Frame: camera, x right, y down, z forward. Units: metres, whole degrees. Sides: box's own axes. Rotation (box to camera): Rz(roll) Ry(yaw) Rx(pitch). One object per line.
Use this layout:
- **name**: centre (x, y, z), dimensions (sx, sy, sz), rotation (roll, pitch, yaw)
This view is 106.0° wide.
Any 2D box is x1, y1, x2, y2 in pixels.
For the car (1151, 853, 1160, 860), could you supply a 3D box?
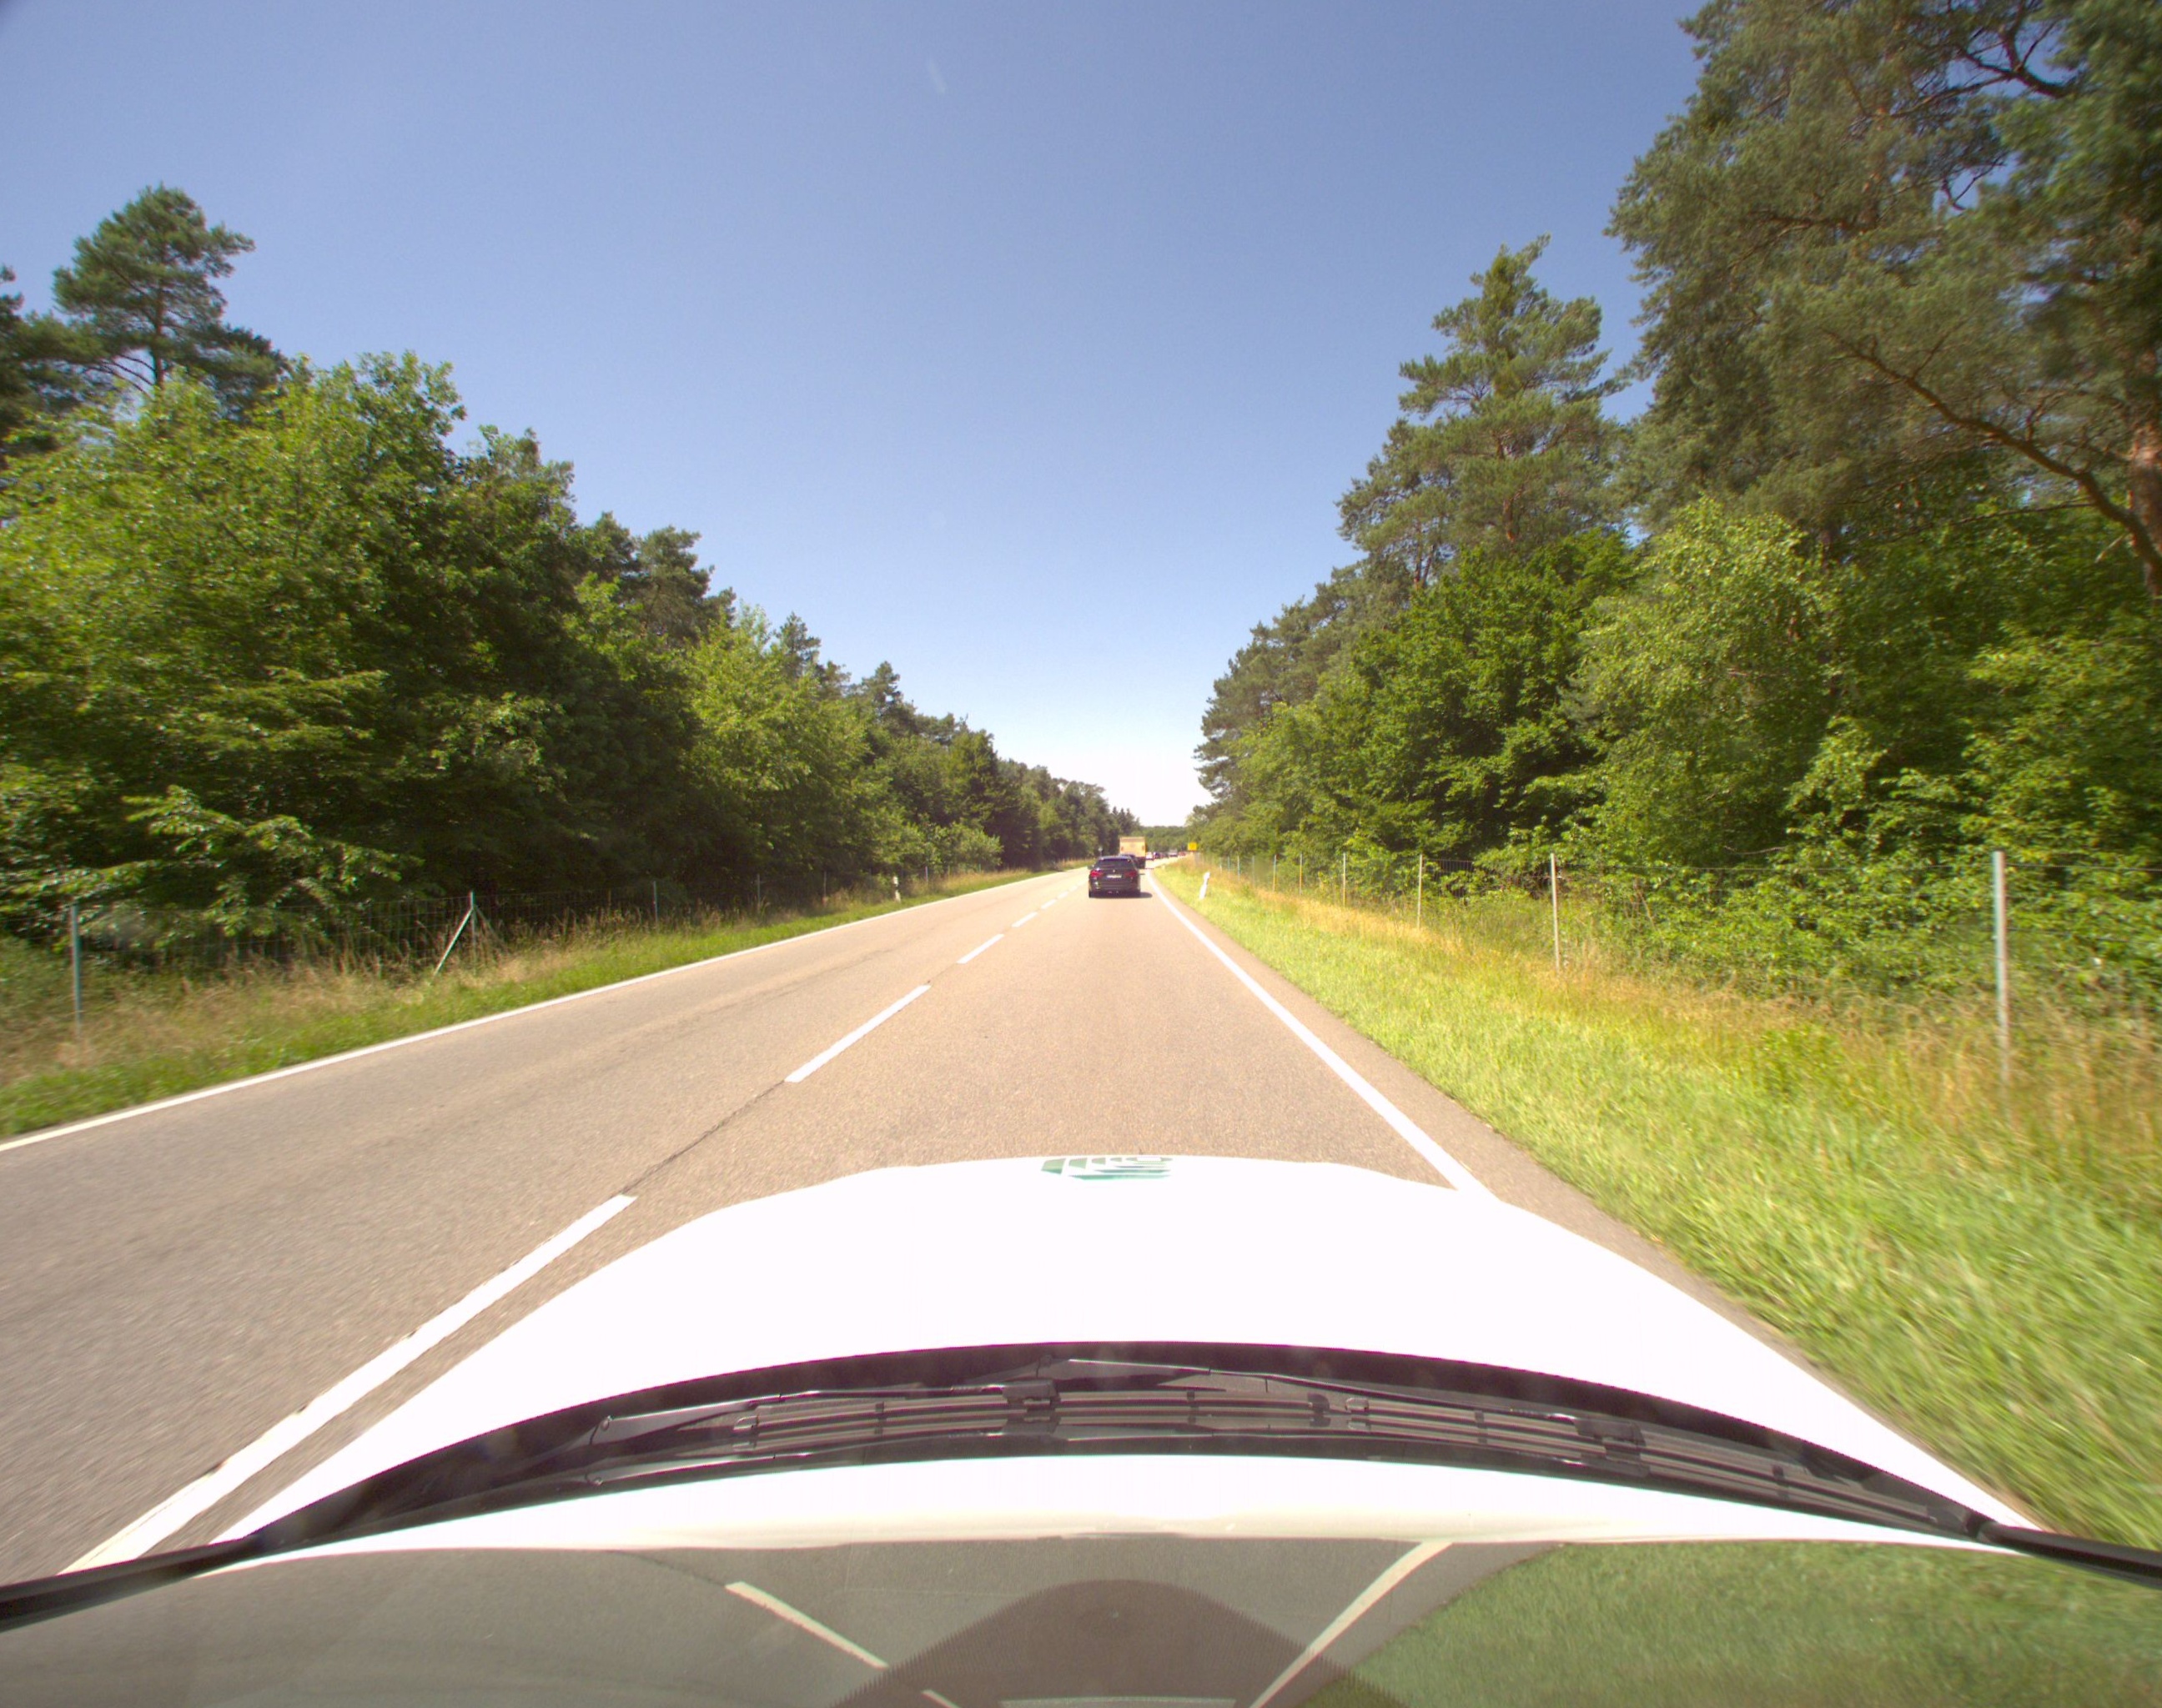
- **car**: centre (17.562, 0.608, 191.061), dimensions (1.983, 1.420, 4.007), rotation (-1, 0, 6)

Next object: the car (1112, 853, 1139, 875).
- **car**: centre (3.378, 0.763, 61.995), dimensions (1.940, 1.542, 4.002), rotation (-3, 0, 2)

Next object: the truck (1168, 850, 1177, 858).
- **truck**: centre (27.242, 0.036, 241.803), dimensions (2.549, 2.202, 4.985), rotation (-1, 0, 8)

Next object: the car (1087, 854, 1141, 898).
- **car**: centre (1.188, 0.760, 30.002), dimensions (1.814, 1.470, 4.001), rotation (-2, 0, 1)

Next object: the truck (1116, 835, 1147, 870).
- **truck**: centre (5.280, -0.209, 83.911), dimensions (2.952, 3.387, 6.446), rotation (-2, 0, 5)

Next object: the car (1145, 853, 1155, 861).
- **car**: centre (13.328, 0.534, 158.383), dimensions (1.855, 1.605, 4.004), rotation (-1, 0, 4)

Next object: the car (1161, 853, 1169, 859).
- **car**: centre (22.156, 0.549, 214.884), dimensions (1.983, 1.636, 4.007), rotation (-3, 0, 6)
